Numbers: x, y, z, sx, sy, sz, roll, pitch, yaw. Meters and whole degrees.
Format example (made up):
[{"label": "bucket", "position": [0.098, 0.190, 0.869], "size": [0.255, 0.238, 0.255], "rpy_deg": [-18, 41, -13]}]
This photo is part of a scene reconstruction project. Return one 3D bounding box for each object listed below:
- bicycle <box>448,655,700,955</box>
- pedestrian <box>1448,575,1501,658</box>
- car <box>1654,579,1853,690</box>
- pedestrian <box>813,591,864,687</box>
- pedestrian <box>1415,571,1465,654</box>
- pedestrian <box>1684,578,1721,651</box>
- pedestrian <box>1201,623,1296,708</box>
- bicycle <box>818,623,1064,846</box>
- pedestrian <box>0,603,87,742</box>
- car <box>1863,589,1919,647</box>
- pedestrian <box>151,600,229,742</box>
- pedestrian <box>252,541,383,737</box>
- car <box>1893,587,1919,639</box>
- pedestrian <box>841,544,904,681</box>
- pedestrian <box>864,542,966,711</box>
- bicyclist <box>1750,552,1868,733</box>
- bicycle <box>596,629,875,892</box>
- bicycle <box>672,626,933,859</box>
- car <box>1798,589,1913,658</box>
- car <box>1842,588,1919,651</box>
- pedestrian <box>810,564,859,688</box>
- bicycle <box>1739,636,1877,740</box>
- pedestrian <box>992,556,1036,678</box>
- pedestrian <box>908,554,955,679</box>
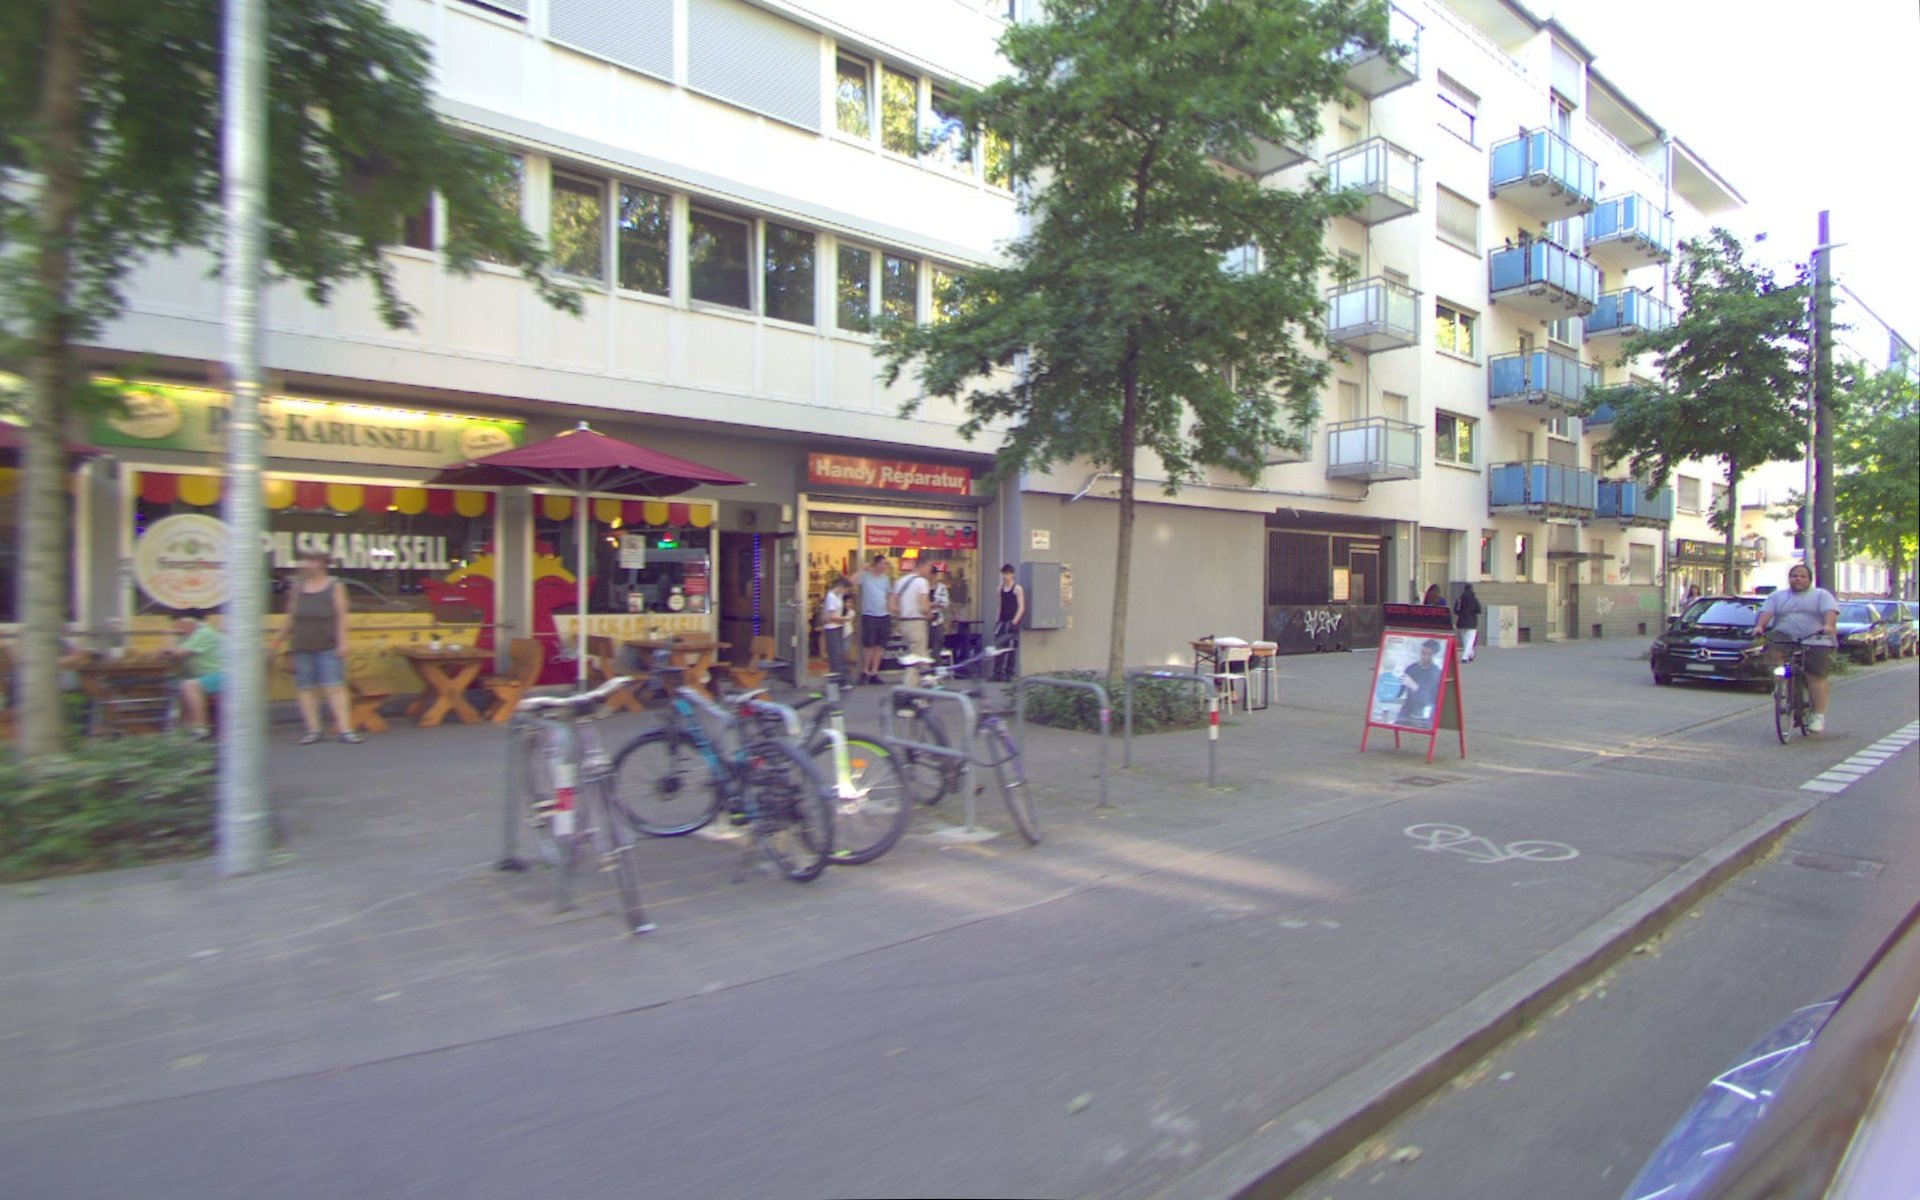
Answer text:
[{"label": "bicycle", "position": [-1.800, 0.794, 4.546], "size": [0.473, 1.007, 1.818], "rpy_deg": [0, 0, -40]}, {"label": "pedestrian", "position": [10.620, 0.332, 20.899], "size": [0.854, 1.658, 0.643], "rpy_deg": [0, 2, -41]}, {"label": "car", "position": [13.777, 0.497, 17.482], "size": [4.252, 1.607, 1.763], "rpy_deg": [-1, 4, -39]}, {"label": "pedestrian", "position": [-1.666, 0.526, 13.952], "size": [0.501, 1.292, 0.623], "rpy_deg": [-1, 0, 14]}, {"label": "pedestrian", "position": [10.168, 0.239, 21.425], "size": [0.918, 1.698, 0.597], "rpy_deg": [-1, 3, -41]}, {"label": "pedestrian", "position": [19.489, 0.374, 26.557], "size": [0.530, 1.875, 0.663], "rpy_deg": [0, 0, -40]}, {"label": "pedestrian", "position": [3.768, 0.837, 13.261], "size": [0.981, 1.040, 0.662], "rpy_deg": [-1, 0, -11]}, {"label": "bicycle", "position": [-0.183, 0.735, 6.241], "size": [0.516, 1.114, 1.819], "rpy_deg": [0, 1, -39]}, {"label": "pedestrian", "position": [-7.577, 0.573, 8.384], "size": [0.513, 1.092, 0.643], "rpy_deg": [0, 0, -40]}, {"label": "car", "position": [27.979, 0.496, 29.525], "size": [4.054, 1.556, 1.791], "rpy_deg": [0, 3, -40]}, {"label": "pedestrian", "position": [-6.808, 0.597, 8.945], "size": [0.513, 1.190, 0.660], "rpy_deg": [0, 0, -40]}, {"label": "pedestrian", "position": [-5.787, 0.336, 9.157], "size": [0.666, 1.680, 0.814], "rpy_deg": [-1, 0, -1]}, {"label": "car", "position": [32.292, 0.423, 33.460], "size": [4.188, 1.590, 1.722], "rpy_deg": [-1, 3, -43]}, {"label": "pedestrian", "position": [-1.308, 0.178, 15.083], "size": [0.776, 1.979, 0.508], "rpy_deg": [-1, 0, -29]}, {"label": "pedestrian", "position": [-0.499, 0.281, 11.391], "size": [0.978, 1.807, 0.591], "rpy_deg": [0, 0, -40]}, {"label": "bicyclist", "position": [9.235, 0.433, 11.006], "size": [1.079, 1.854, 0.769], "rpy_deg": [-1, 0, -39]}, {"label": "bicycle", "position": [-1.230, 0.730, 5.265], "size": [1.815, 1.114, 0.490], "rpy_deg": [-1, 0, 44]}, {"label": "bicycle", "position": [-0.963, 0.724, 5.807], "size": [1.815, 1.114, 0.474], "rpy_deg": [-1, 0, 44]}, {"label": "car", "position": [21.865, 0.519, 24.671], "size": [3.822, 1.500, 1.625], "rpy_deg": [0, 3, -42]}, {"label": "car", "position": [24.897, 0.495, 27.100], "size": [2.829, 1.556, 1.448], "rpy_deg": [0, 2, -39]}, {"label": "pedestrian", "position": [-1.703, 0.349, 13.791], "size": [0.500, 1.649, 0.516], "rpy_deg": [-1, 0, 14]}, {"label": "bicycle", "position": [9.246, 0.909, 11.012], "size": [1.904, 0.949, 0.790], "rpy_deg": [-1, 0, -39]}, {"label": "pedestrian", "position": [0.822, 0.251, 15.363], "size": [0.480, 1.819, 0.432], "rpy_deg": [0, -1, -40]}, {"label": "pedestrian", "position": [-0.423, 0.241, 15.121], "size": [0.620, 1.828, 0.526], "rpy_deg": [-1, 0, 5]}]
